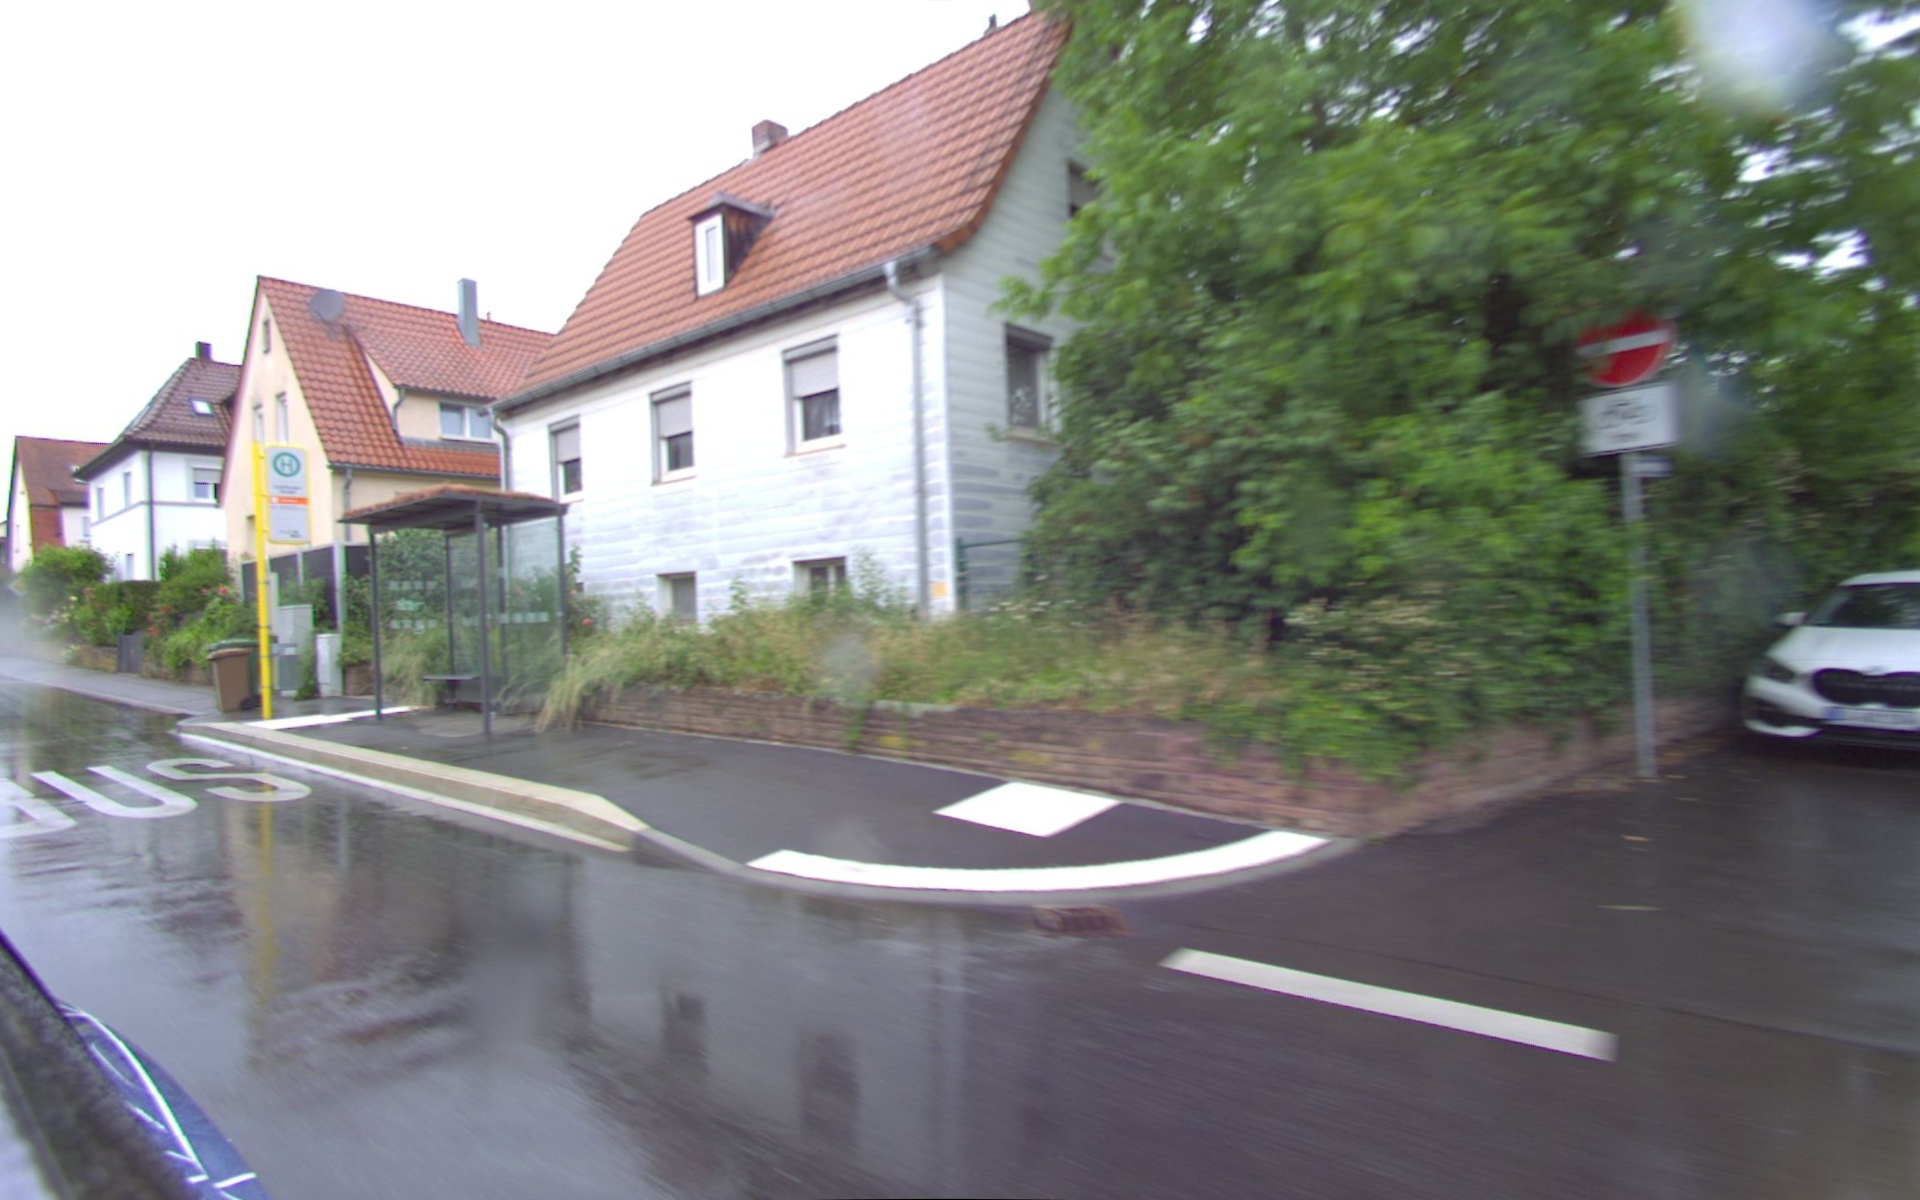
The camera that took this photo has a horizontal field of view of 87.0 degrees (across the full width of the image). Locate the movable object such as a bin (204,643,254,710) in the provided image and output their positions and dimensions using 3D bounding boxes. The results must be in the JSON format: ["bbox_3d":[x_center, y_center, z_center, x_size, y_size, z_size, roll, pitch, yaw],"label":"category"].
[{"bbox_3d":[-11.024,1.146,15.266,0.454,0.946,0.463,-4,1,42],"label":"movable object such as a bin"}]

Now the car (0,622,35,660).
[{"bbox_3d":[-57.581,2.224,59.650,1.870,1.989,3.952,-2,-13,37],"label":"car"}]

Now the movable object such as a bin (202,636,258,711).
[{"bbox_3d":[-11.375,1.138,15.770,0.527,1.090,0.547,-2,3,42],"label":"movable object such as a bin"}]

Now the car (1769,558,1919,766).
[{"bbox_3d":[8.341,0.361,8.227,4.172,1.429,1.721,-3,0,-37],"label":"car"}]
